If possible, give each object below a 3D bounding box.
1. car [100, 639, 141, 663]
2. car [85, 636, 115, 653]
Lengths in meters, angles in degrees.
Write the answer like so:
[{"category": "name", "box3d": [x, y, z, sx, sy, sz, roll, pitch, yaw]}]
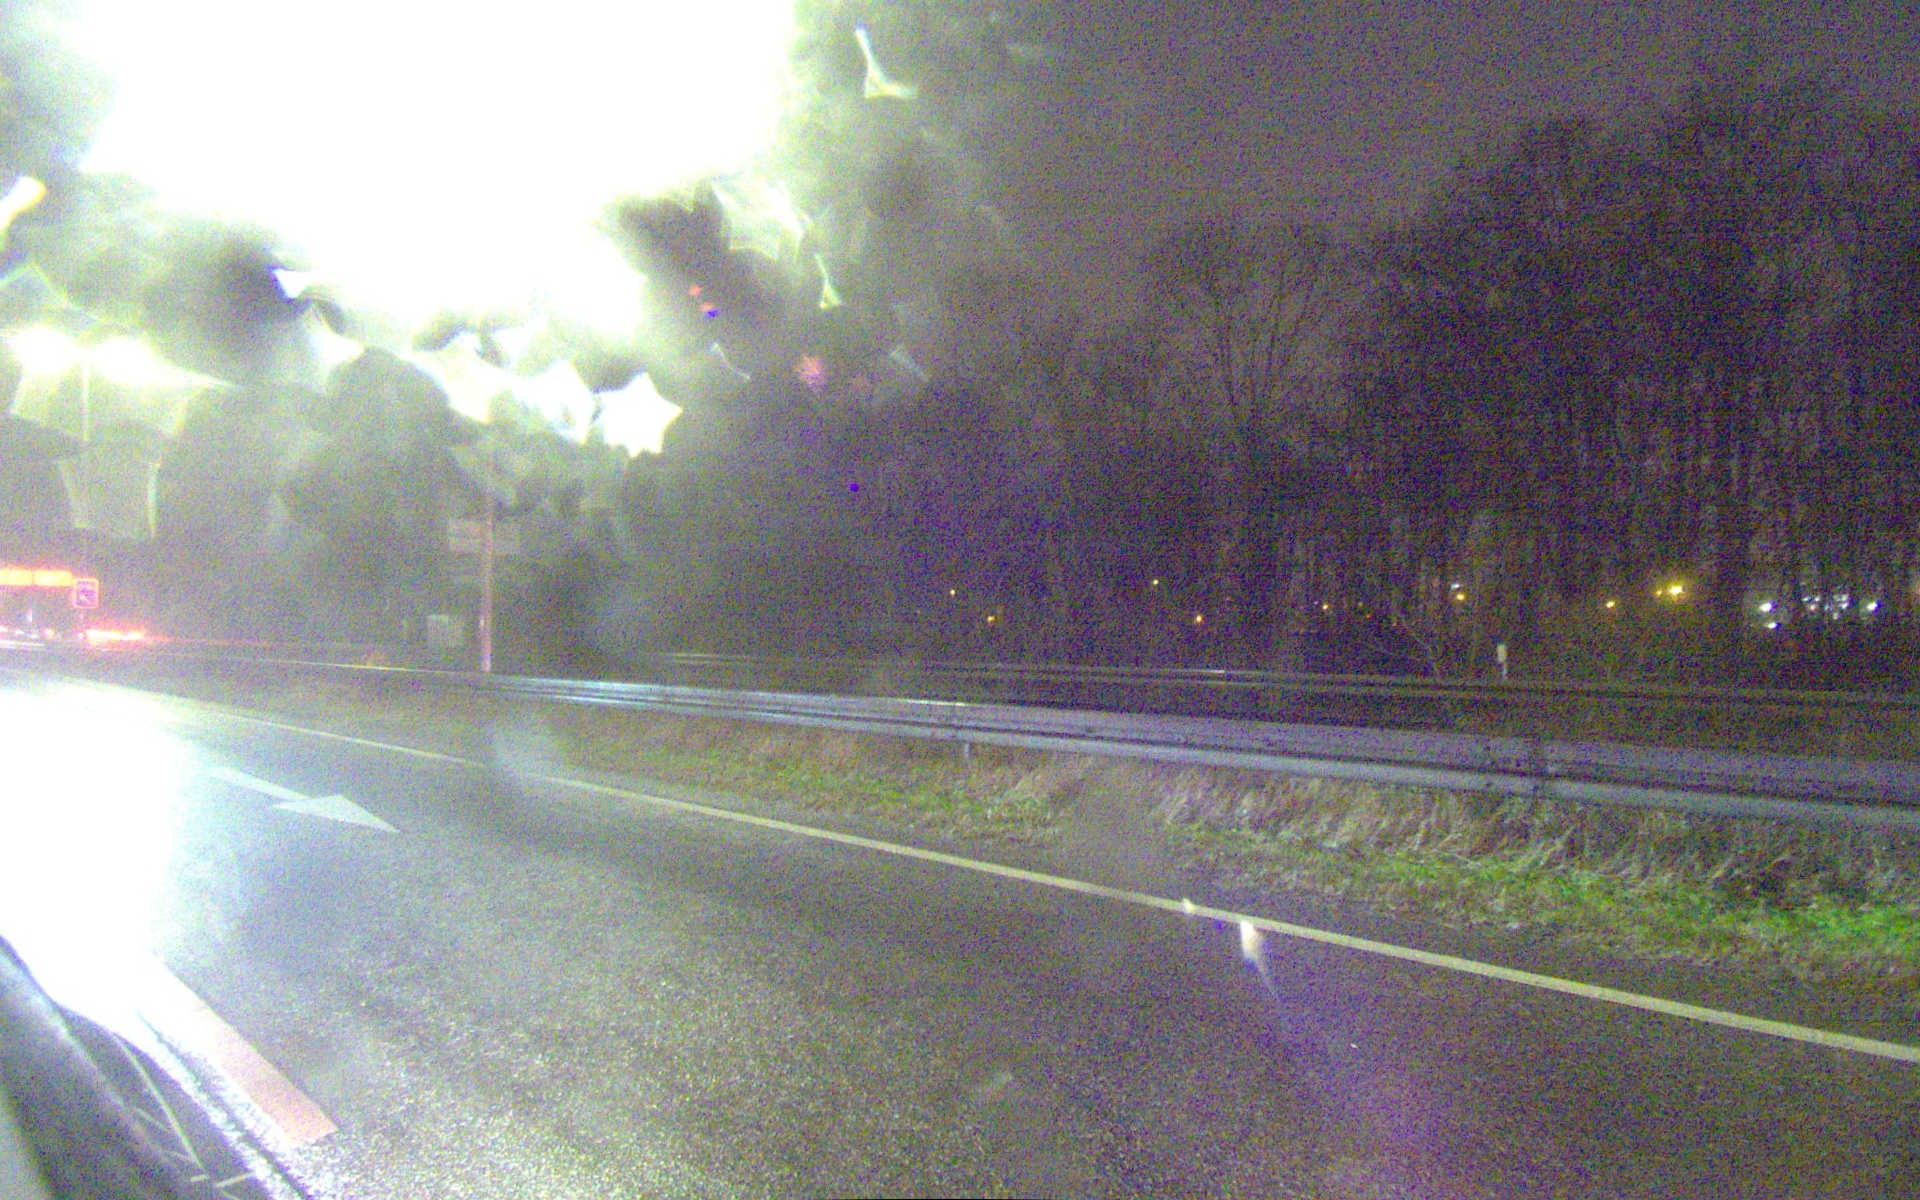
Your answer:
[{"category": "car", "box3d": [-63.383, 3.813, 76.413, 3.999, 1.660, 1.842, -2, -1, 42]}, {"category": "car", "box3d": [-88.356, 4.593, 103.955, 3.999, 1.660, 1.793, -2, -1, 42]}]
